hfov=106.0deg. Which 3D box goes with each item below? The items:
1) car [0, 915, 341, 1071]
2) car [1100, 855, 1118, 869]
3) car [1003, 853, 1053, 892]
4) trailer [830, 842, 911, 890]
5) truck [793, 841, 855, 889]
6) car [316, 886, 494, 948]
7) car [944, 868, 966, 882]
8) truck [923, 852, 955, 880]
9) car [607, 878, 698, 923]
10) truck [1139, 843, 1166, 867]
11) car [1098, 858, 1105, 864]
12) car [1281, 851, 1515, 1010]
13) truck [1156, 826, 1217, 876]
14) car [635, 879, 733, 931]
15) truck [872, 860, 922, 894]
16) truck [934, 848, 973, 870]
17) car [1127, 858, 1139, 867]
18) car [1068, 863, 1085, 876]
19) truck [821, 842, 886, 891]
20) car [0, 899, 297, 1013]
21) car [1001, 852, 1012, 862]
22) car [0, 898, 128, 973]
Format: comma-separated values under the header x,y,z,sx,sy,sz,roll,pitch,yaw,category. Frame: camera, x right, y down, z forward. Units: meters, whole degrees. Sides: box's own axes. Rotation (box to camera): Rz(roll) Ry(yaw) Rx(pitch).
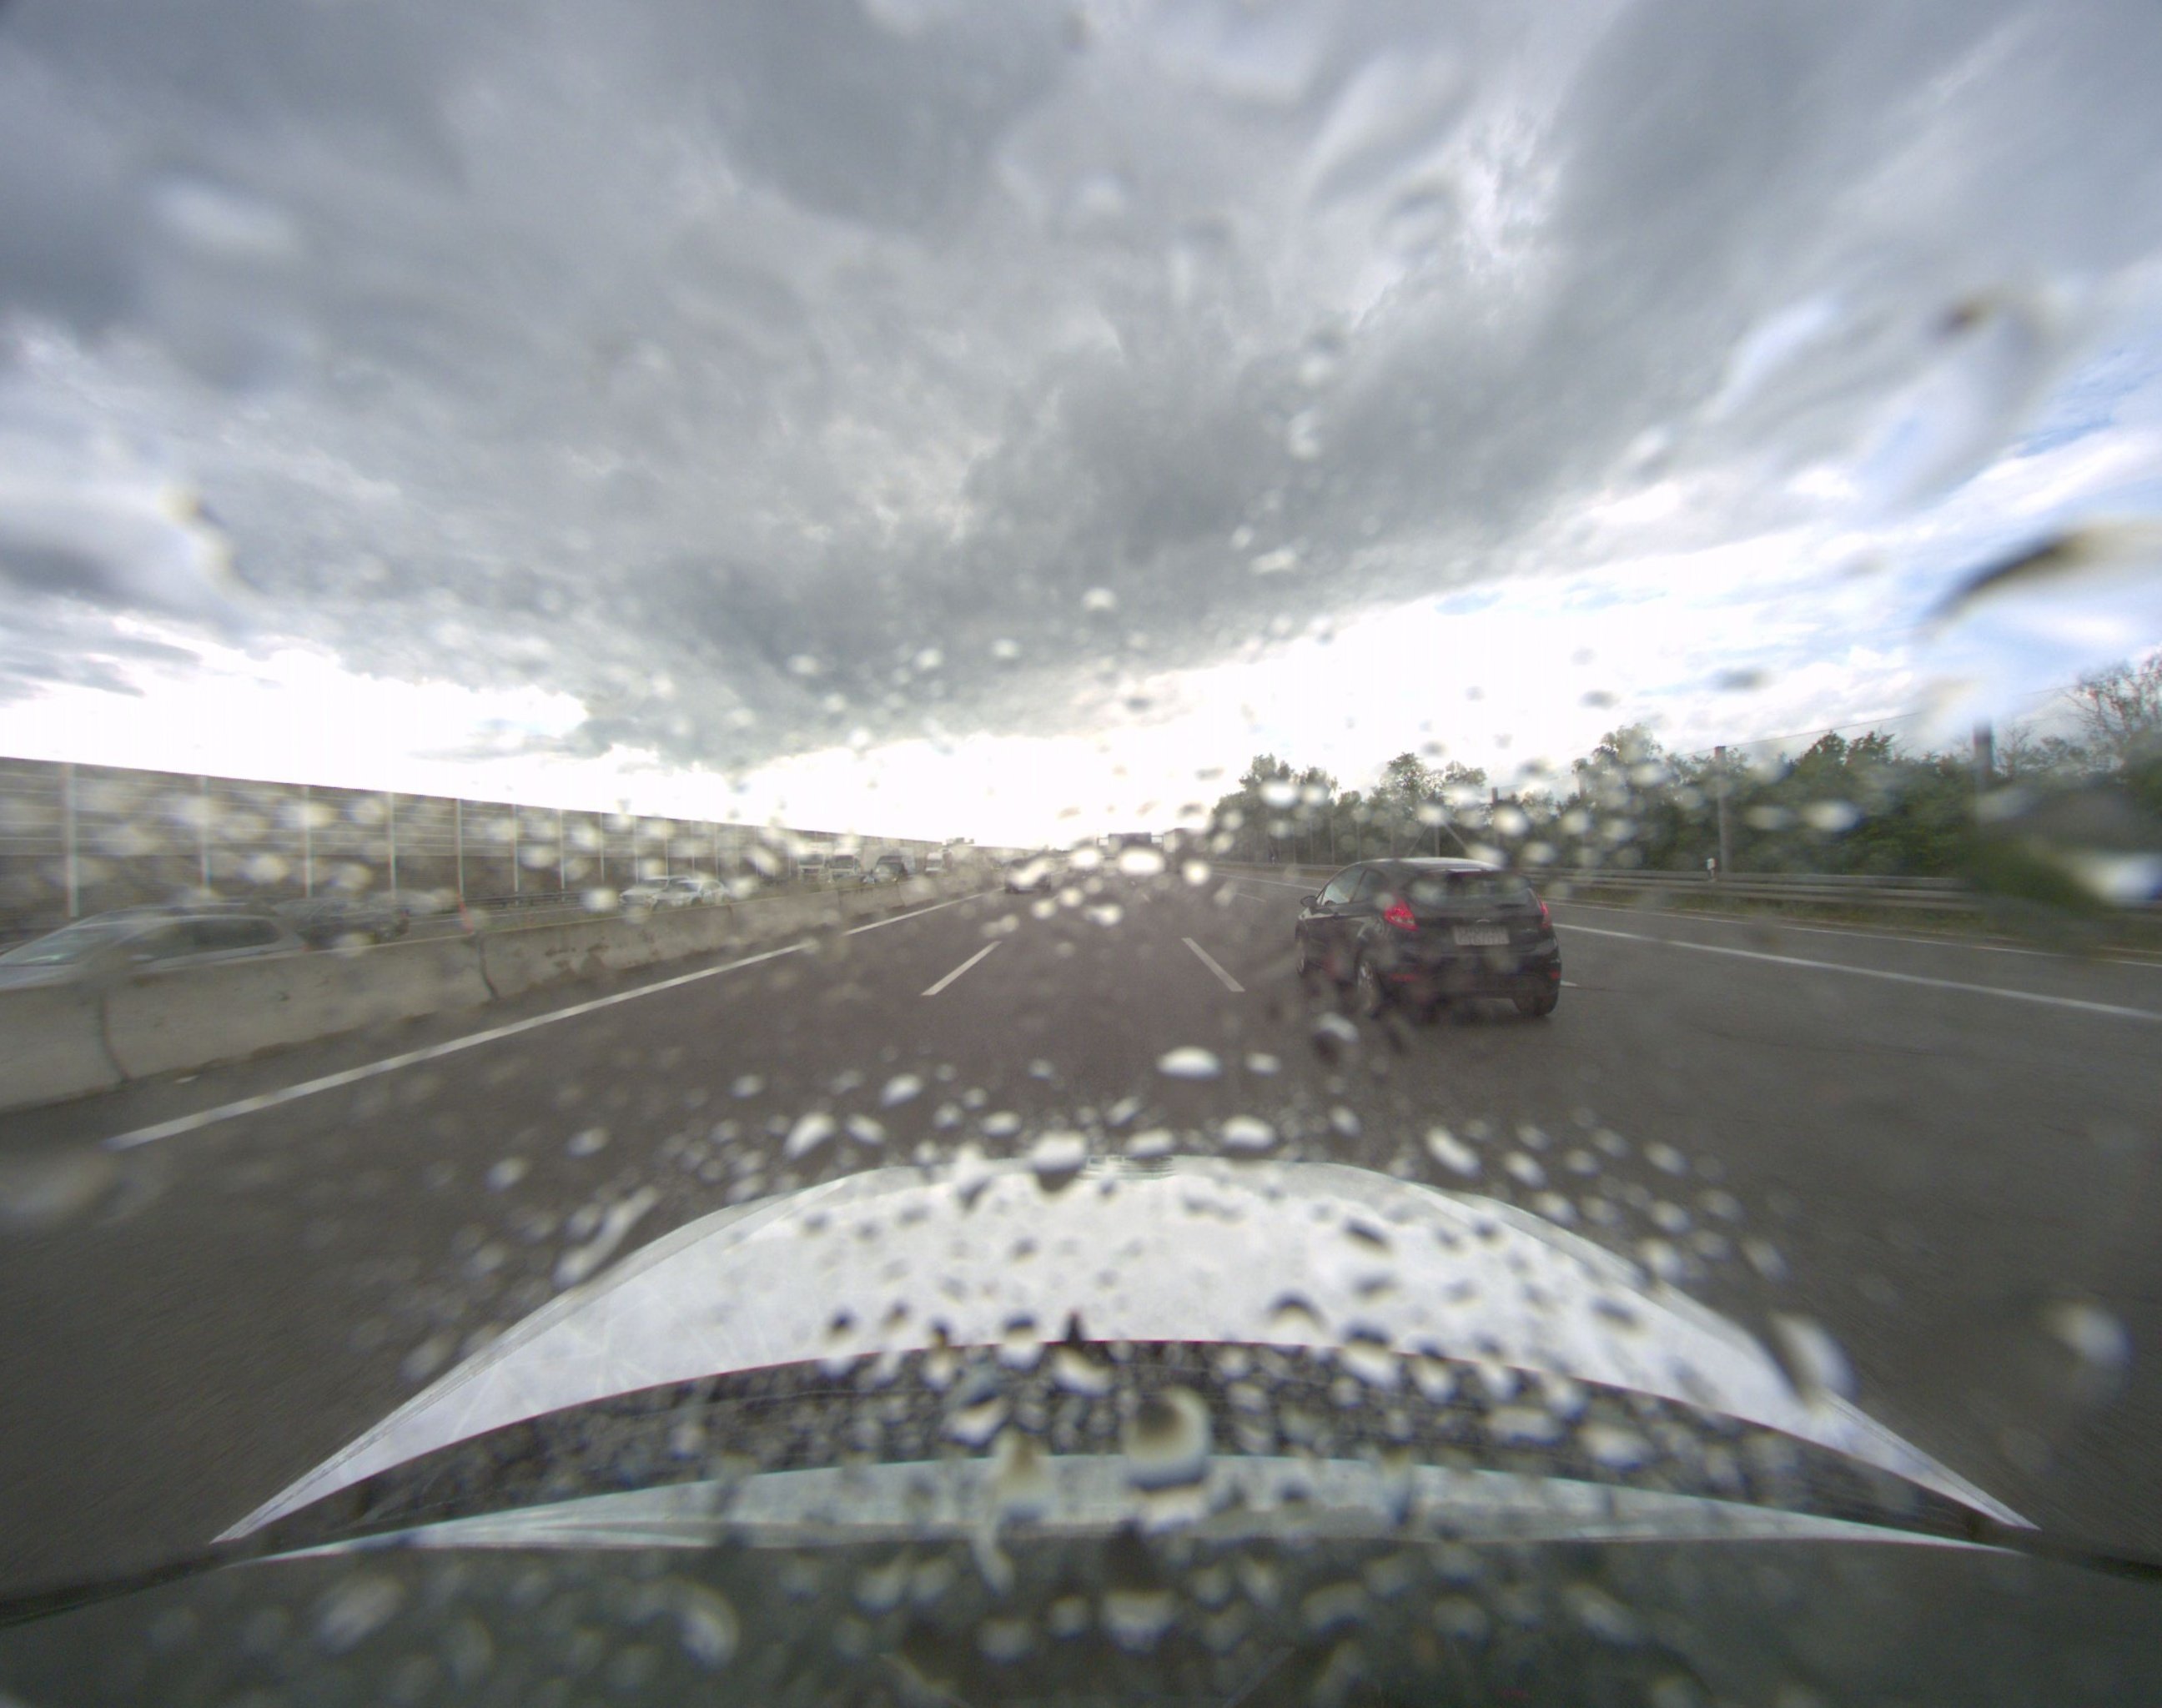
x,y,z,sx,sy,sz,roll,pitch,yaw,category
-13.868,1.866,12.009,1.916,1.599,4.254,-2,-1,2,car
3.103,0.902,89.887,1.767,1.441,4.053,-1,0,-1,car
-2.422,0.848,38.777,1.902,1.691,5.169,-1,0,1,car
-19.020,1.067,74.977,3.068,3.935,14.987,0,0,2,trailer
-23.570,0.983,75.240,2.700,4.075,8.918,0,0,2,truck
-21.000,1.904,25.591,1.916,1.599,4.254,-2,-1,2,car
-14.198,2.365,91.933,1.657,1.534,3.889,0,0,2,car
-17.827,1.445,102.545,2.312,3.347,8.356,0,0,2,truck
-20.390,2.176,38.966,1.916,1.906,4.254,-2,-1,2,car
13.251,0.231,152.224,4.229,4.176,11.988,0,0,0,truck
5.583,1.950,223.708,1.767,1.441,3.872,-1,0,-1,car
3.318,0.717,9.116,1.441,1.441,3.165,-1,0,2,car
9.776,-0.239,77.169,4.166,4.288,12.610,0,0,0,truck
-16.719,2.088,34.534,1.916,1.906,4.254,-2,-1,2,car
-12.857,1.561,57.277,1.986,2.211,5.926,0,0,2,truck
-20.477,0.815,131.694,3.254,3.352,16.090,0,0,2,truck
9.092,1.533,143.098,1.830,1.441,4.055,-1,0,0,car
-0.530,1.725,92.333,1.756,1.369,5.057,-1,0,-1,car
-19.214,1.015,69.309,3.068,3.935,8.056,0,0,2,truck
-17.704,1.777,15.189,1.916,1.599,4.254,-2,-1,2,car
-15.654,0.683,171.441,1.986,2.014,4.001,0,0,2,car
-25.390,1.934,18.693,1.916,1.599,4.254,-2,-1,2,car
